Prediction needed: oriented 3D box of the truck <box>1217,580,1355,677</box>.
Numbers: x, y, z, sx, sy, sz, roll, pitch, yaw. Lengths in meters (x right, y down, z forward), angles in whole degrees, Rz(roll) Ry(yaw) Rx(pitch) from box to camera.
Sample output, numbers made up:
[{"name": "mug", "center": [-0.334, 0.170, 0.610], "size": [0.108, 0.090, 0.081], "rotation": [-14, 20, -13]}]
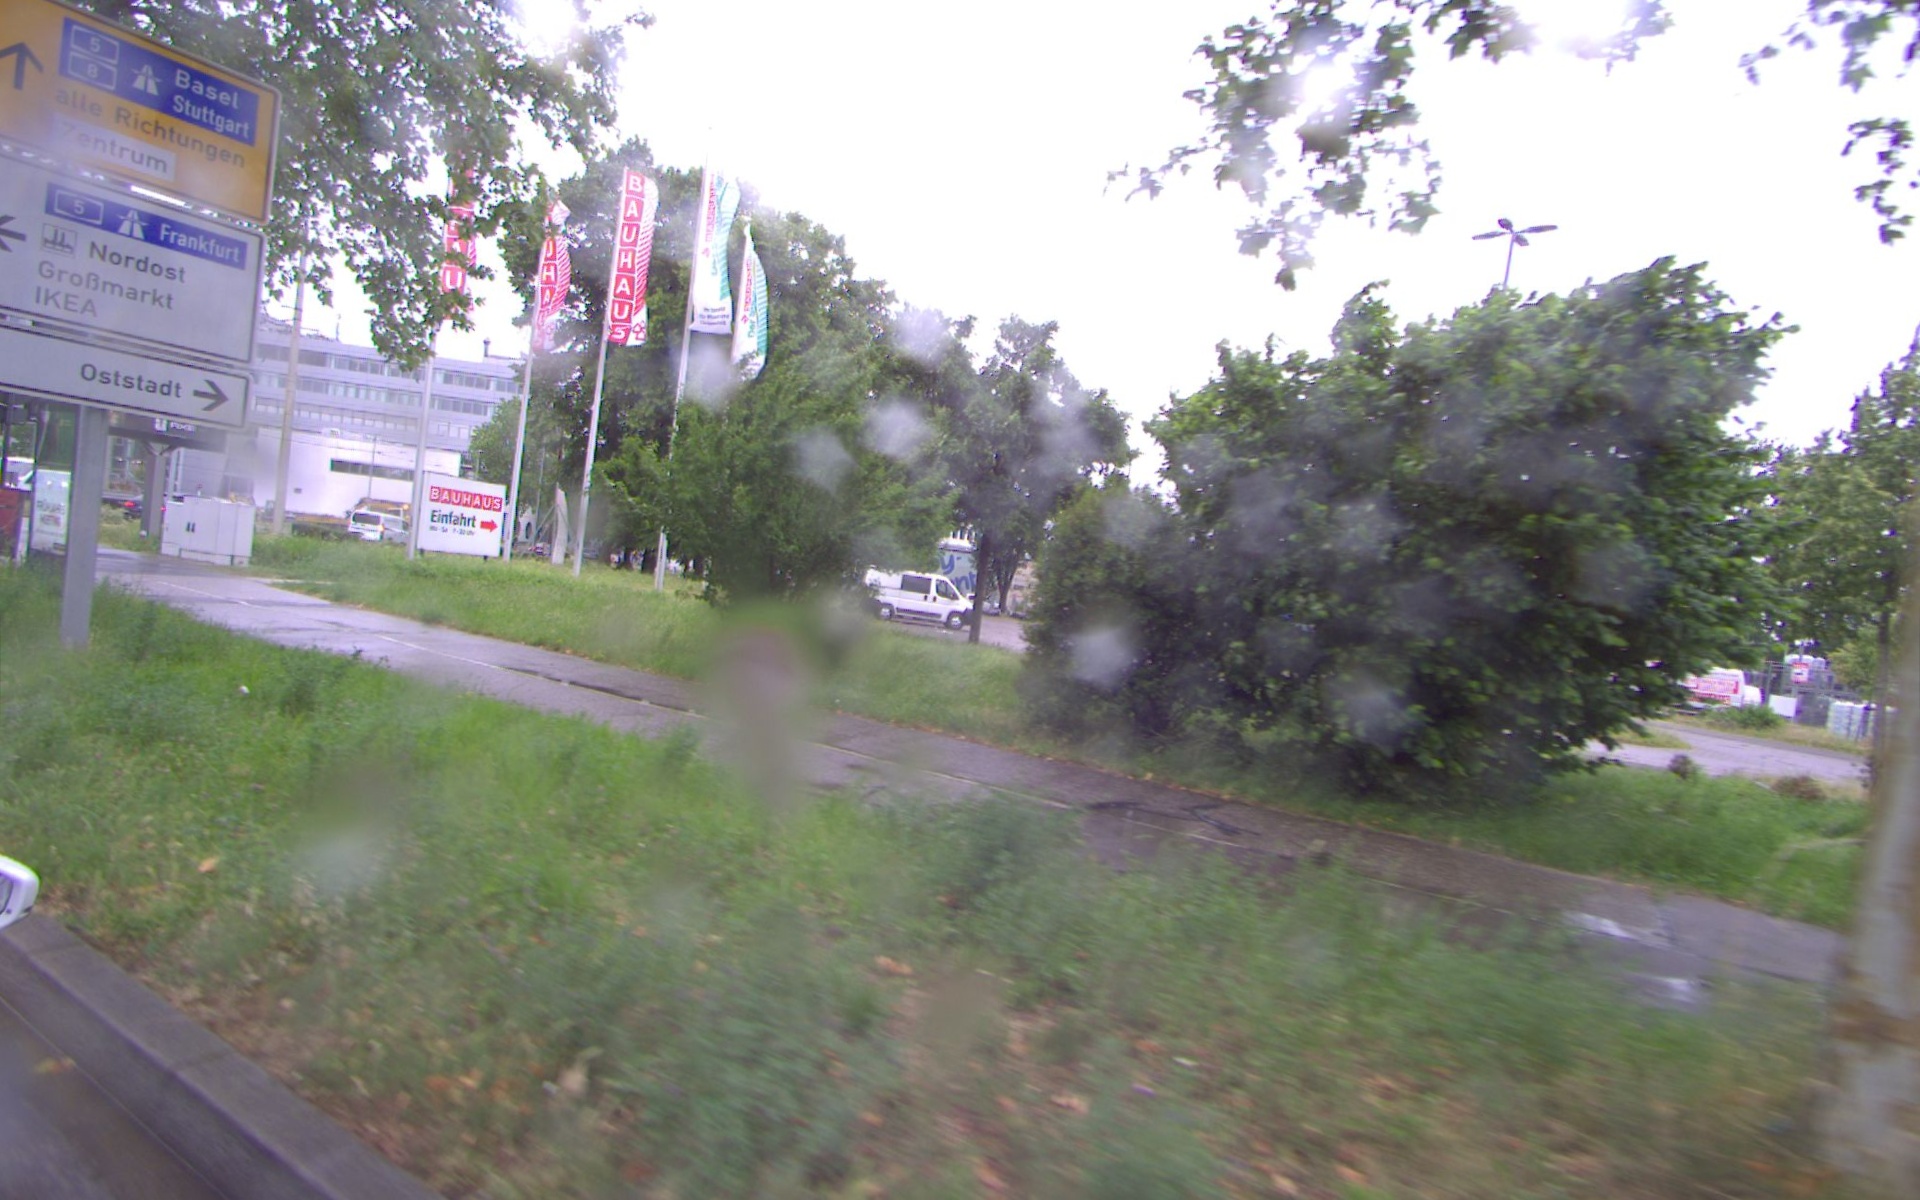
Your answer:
[{"name": "truck", "center": [15.144, 1.261, 47.579], "size": [2.950, 3.857, 8.283], "rotation": [7, 0, -4]}]

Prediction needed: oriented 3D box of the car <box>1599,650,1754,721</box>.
[{"name": "car", "center": [32.065, 3.809, 45.071], "size": [5.572, 2.362, 1.999], "rotation": [7, -1, -6]}]

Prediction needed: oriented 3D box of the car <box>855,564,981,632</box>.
[{"name": "car", "center": [-1.785, -0.088, 41.831], "size": [4.833, 2.180, 1.803], "rotation": [7, 0, -9]}]

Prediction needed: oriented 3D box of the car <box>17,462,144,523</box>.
[{"name": "car", "center": [-38.848, -4.709, 44.604], "size": [1.769, 2.220, 4.380], "rotation": [7, 2, -3]}]

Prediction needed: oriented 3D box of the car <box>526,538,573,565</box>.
[{"name": "car", "center": [-30.263, -3.546, 74.372], "size": [1.769, 1.556, 4.384], "rotation": [7, 0, -4]}]

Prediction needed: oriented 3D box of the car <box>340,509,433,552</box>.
[{"name": "car", "center": [-28.005, -3.365, 49.296], "size": [1.768, 1.556, 4.387], "rotation": [7, 0, 3]}]

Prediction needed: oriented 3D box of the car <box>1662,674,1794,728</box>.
[{"name": "car", "center": [43.173, 5.656, 56.669], "size": [5.563, 2.168, 2.002], "rotation": [7, -1, 5]}]

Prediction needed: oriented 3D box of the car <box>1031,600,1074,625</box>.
[{"name": "car", "center": [9.403, 1.265, 102.512], "size": [4.085, 2.037, 2.001], "rotation": [7, -1, 1]}]

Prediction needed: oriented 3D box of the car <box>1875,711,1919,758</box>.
[{"name": "car", "center": [50.337, 7.108, 51.469], "size": [2.044, 2.229, 5.155], "rotation": [5, -1, -1]}]

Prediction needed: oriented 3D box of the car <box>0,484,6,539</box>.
[{"name": "car", "center": [-28.222, -2.627, 26.502], "size": [1.768, 1.556, 4.387], "rotation": [7, 0, 3]}]

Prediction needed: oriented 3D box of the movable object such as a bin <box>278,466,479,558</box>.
[{"name": "movable object such as a bin", "center": [-57.952, -8.650, 101.006], "size": [14.695, 6.356, 8.270], "rotation": [7, -1, -2]}]

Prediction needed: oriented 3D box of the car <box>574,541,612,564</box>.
[{"name": "car", "center": [-31.432, -4.043, 86.280], "size": [1.770, 1.556, 4.383], "rotation": [7, 0, -4]}]

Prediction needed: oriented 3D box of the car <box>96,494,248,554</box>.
[{"name": "car", "center": [-28.378, -2.686, 36.426], "size": [1.768, 1.555, 4.389], "rotation": [7, -1, 3]}]
